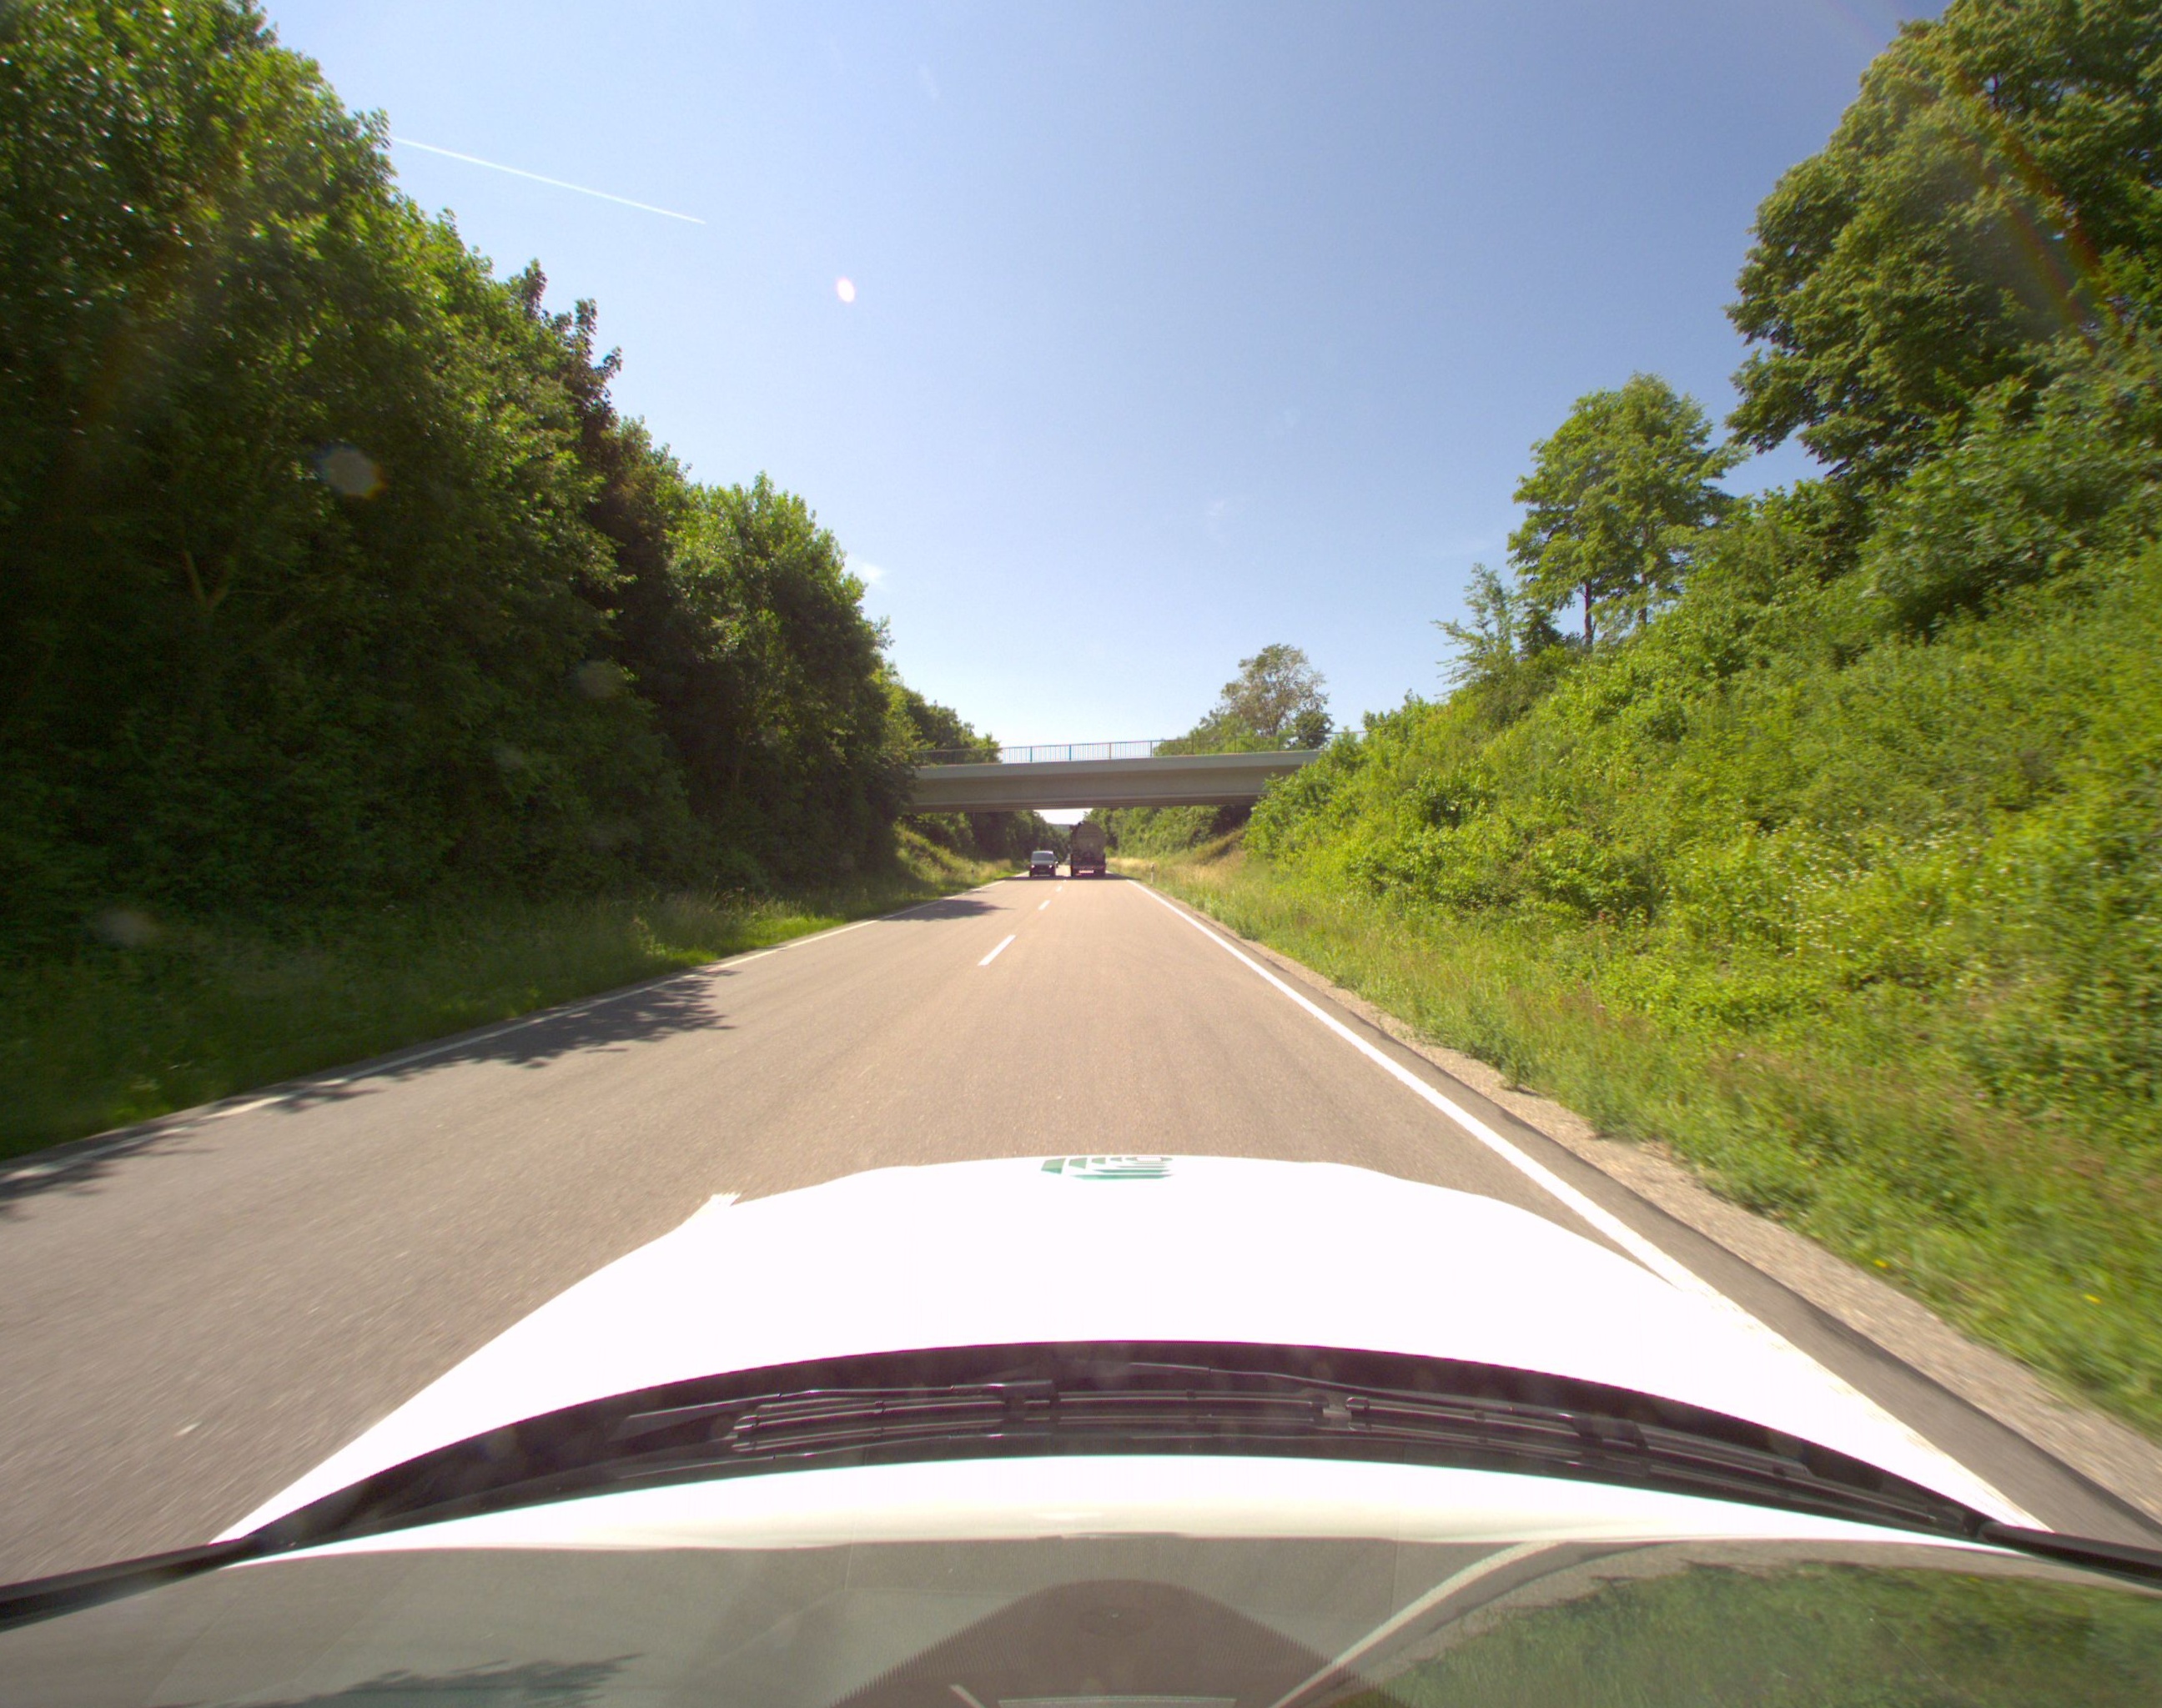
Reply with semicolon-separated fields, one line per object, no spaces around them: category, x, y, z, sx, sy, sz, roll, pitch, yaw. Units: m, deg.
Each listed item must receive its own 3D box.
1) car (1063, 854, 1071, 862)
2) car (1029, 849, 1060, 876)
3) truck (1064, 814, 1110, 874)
car;-3.743;1.129;210.699;1.988;2.013;3.997;0;0;-2
car;-2.679;0.590;60.566;1.925;1.905;5.328;-1;0;1
truck;0.592;-0.526;63.524;3.038;3.998;15.638;2;-1;1
